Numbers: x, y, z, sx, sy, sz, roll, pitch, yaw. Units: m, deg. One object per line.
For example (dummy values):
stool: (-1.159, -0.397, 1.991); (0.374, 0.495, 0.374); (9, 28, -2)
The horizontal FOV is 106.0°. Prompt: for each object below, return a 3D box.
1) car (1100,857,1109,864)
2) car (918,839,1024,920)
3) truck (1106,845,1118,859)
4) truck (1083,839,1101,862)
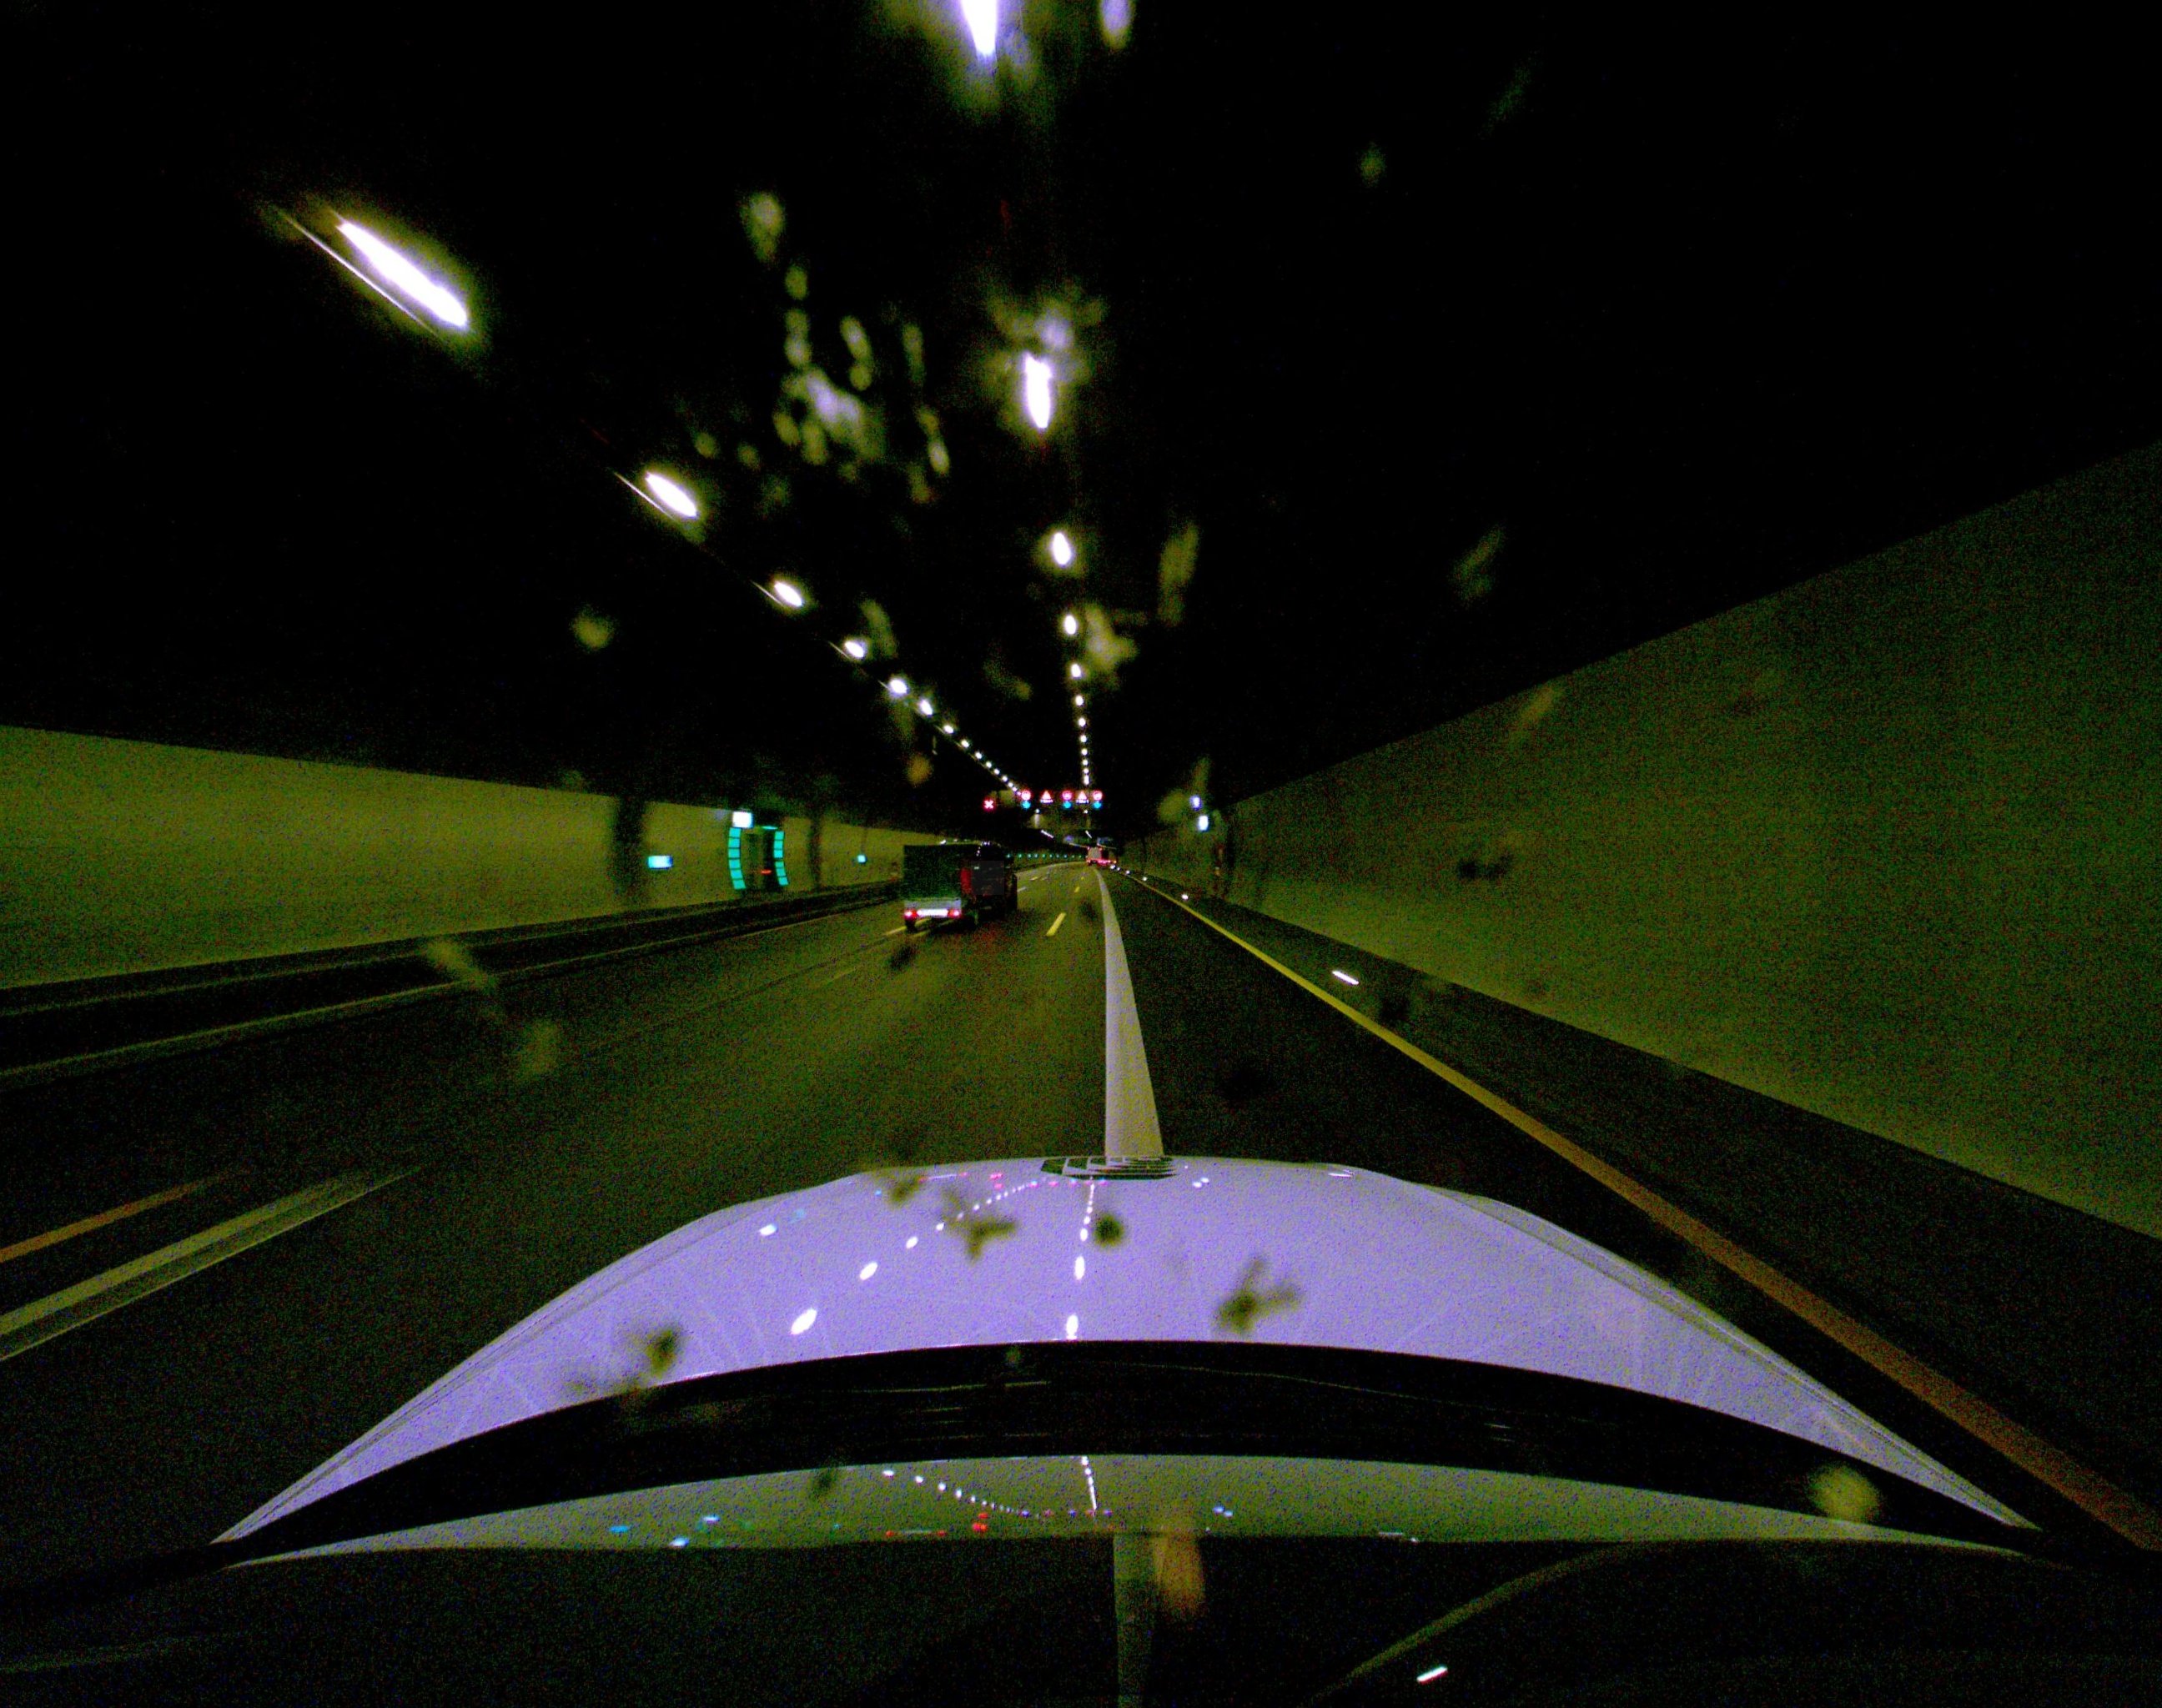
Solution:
car: (6.540, 1.845, 222.400); (1.984, 1.895, 5.541); (-1, 0, 6)
car: (-2.772, 0.587, 21.890); (1.986, 1.895, 5.455); (0, 0, 1)
truck: (9.948, -0.508, 260.831); (3.462, 4.316, 10.952); (-2, 0, 1)
truck: (2.193, -0.706, 161.745); (3.463, 4.316, 10.951); (-1, 0, 0)
